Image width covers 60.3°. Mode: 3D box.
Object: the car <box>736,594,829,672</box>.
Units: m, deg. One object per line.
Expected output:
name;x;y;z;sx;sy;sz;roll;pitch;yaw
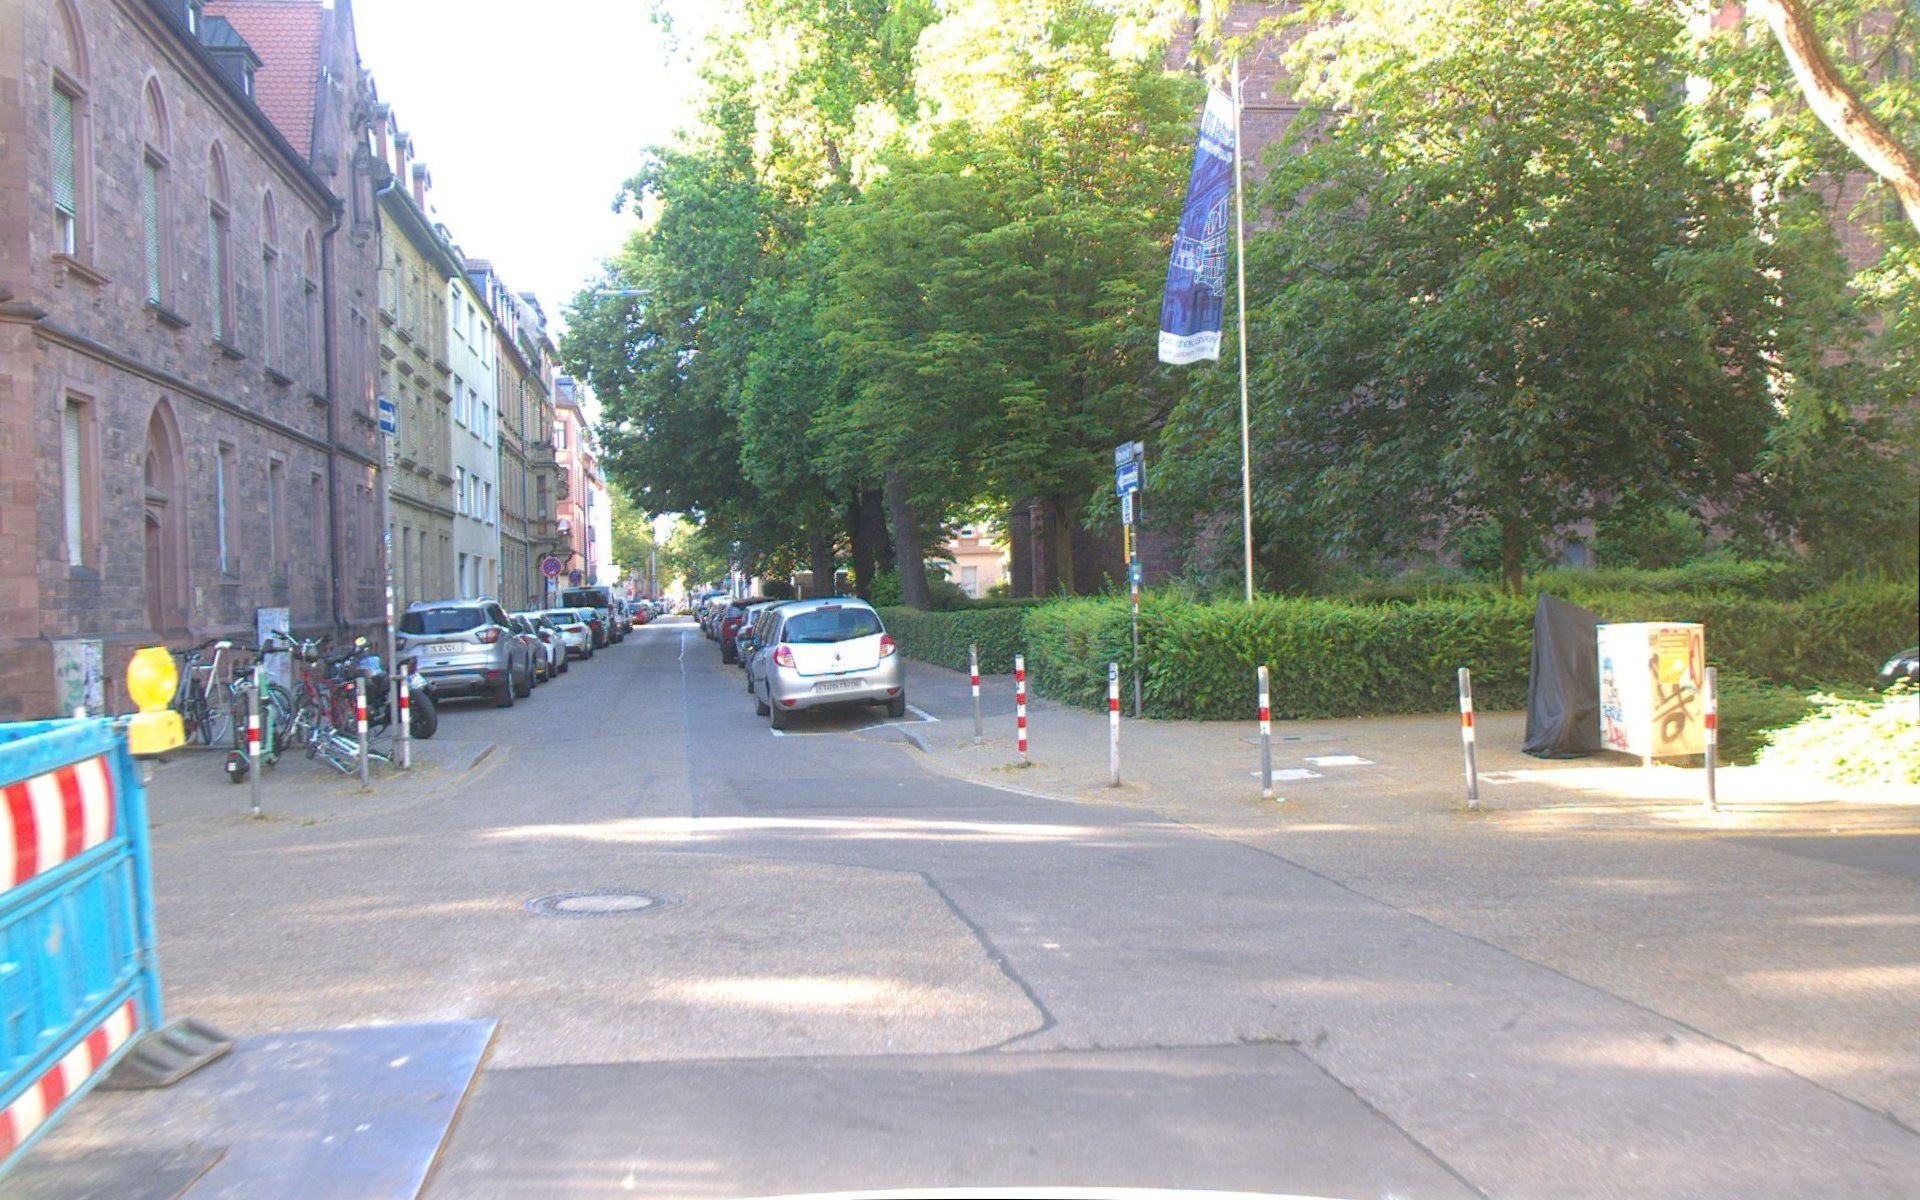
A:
car;-4.106;0.714;37.749;1.808;1.624;3.990;-2;0;-10

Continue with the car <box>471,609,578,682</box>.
car;-9.791;0.990;37.469;1.847;1.435;3.992;-3;0;-9

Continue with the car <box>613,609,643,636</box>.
car;-22.720;1.517;113.396;1.915;1.739;3.989;-2;0;-11

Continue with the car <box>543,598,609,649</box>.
car;-13.157;0.795;56.866;1.958;1.601;3.990;-2;0;-10

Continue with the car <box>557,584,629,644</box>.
car;-14.163;0.526;64.056;2.266;2.151;5.159;-2;0;-8

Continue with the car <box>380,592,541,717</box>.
car;-7.931;0.826;26.599;1.847;1.736;3.992;-3;0;-9

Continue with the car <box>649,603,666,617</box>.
car;-38.251;1.314;209.111;1.957;1.676;3.990;-2;0;-10

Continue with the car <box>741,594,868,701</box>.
car;-2.609;0.726;27.038;1.692;1.549;3.990;-2;0;-10

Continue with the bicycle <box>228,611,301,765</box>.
bicycle;-7.177;0.856;17.019;0.565;1.448;2.483;-2;0;-25

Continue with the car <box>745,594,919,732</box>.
car;-1.763;0.733;21.582;1.694;1.549;3.988;-2;1;-12

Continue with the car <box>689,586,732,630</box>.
car;-13.875;0.433;91.791;2.122;2.295;4.514;-2;0;-11

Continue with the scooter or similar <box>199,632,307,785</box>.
scooter or similar;-6.472;0.967;15.192;0.519;1.299;1.299;-2;0;-6

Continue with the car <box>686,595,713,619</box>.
car;-20.313;0.545;128.658;1.957;1.758;3.991;-2;1;-10

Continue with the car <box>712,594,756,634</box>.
car;-10.538;0.639;76.844;1.796;1.733;3.990;-2;0;-10

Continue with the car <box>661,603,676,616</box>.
car;-40.744;1.336;231.156;1.957;1.676;3.990;-2;0;-10

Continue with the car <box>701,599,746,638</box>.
car;-10.535;0.807;73.517;1.760;1.601;3.990;-2;0;-10

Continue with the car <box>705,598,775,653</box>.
car;-6.977;0.797;52.141;1.958;1.601;3.990;-2;0;-10

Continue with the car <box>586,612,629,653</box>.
car;-16.396;1.477;77.071;1.760;1.601;3.991;-2;3;-10

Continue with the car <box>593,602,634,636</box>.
car;-17.651;0.956;84.349;1.868;1.601;3.990;-2;0;-10

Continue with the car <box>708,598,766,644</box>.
car;-8.424;0.787;62.321;1.958;1.601;3.990;-2;0;-10

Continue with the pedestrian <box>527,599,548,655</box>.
pedestrian;-15.561;0.995;60.945;0.674;2.049;0.688;-2;0;-17

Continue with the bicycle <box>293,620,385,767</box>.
bicycle;-6.411;0.908;17.007;0.674;1.368;2.483;-2;0;-25

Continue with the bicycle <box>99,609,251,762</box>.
bicycle;-8.190;0.832;17.397;0.670;1.448;2.791;-2;0;-10

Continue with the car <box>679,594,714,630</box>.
car;-13.246;0.603;83.010;1.658;1.758;3.990;1;0;-10

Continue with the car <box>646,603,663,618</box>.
car;-37.039;1.248;200.502;1.957;1.676;3.990;-2;0;-10

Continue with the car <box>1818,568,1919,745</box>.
car;10.348;0.438;14.154;1.789;1.579;5.023;-2;0;-42

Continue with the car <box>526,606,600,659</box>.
car;-11.244;0.886;47.027;1.739;1.377;3.990;-2;0;-10

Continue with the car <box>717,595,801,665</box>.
car;-5.202;0.743;42.451;1.860;1.653;3.990;-2;0;-10

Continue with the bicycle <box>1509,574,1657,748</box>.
bicycle;5.597;0.504;14.782;0.761;1.394;2.119;-2;1;33

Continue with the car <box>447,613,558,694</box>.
car;-9.058;1.014;33.024;1.694;1.417;3.991;-2;0;-10

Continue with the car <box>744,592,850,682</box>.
car;-3.273;0.702;32.637;1.710;1.601;3.990;-2;0;-10

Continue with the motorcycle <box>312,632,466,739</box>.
motorcycle;-7.031;1.039;20.294;2.267;1.228;0.663;-2;0;39
